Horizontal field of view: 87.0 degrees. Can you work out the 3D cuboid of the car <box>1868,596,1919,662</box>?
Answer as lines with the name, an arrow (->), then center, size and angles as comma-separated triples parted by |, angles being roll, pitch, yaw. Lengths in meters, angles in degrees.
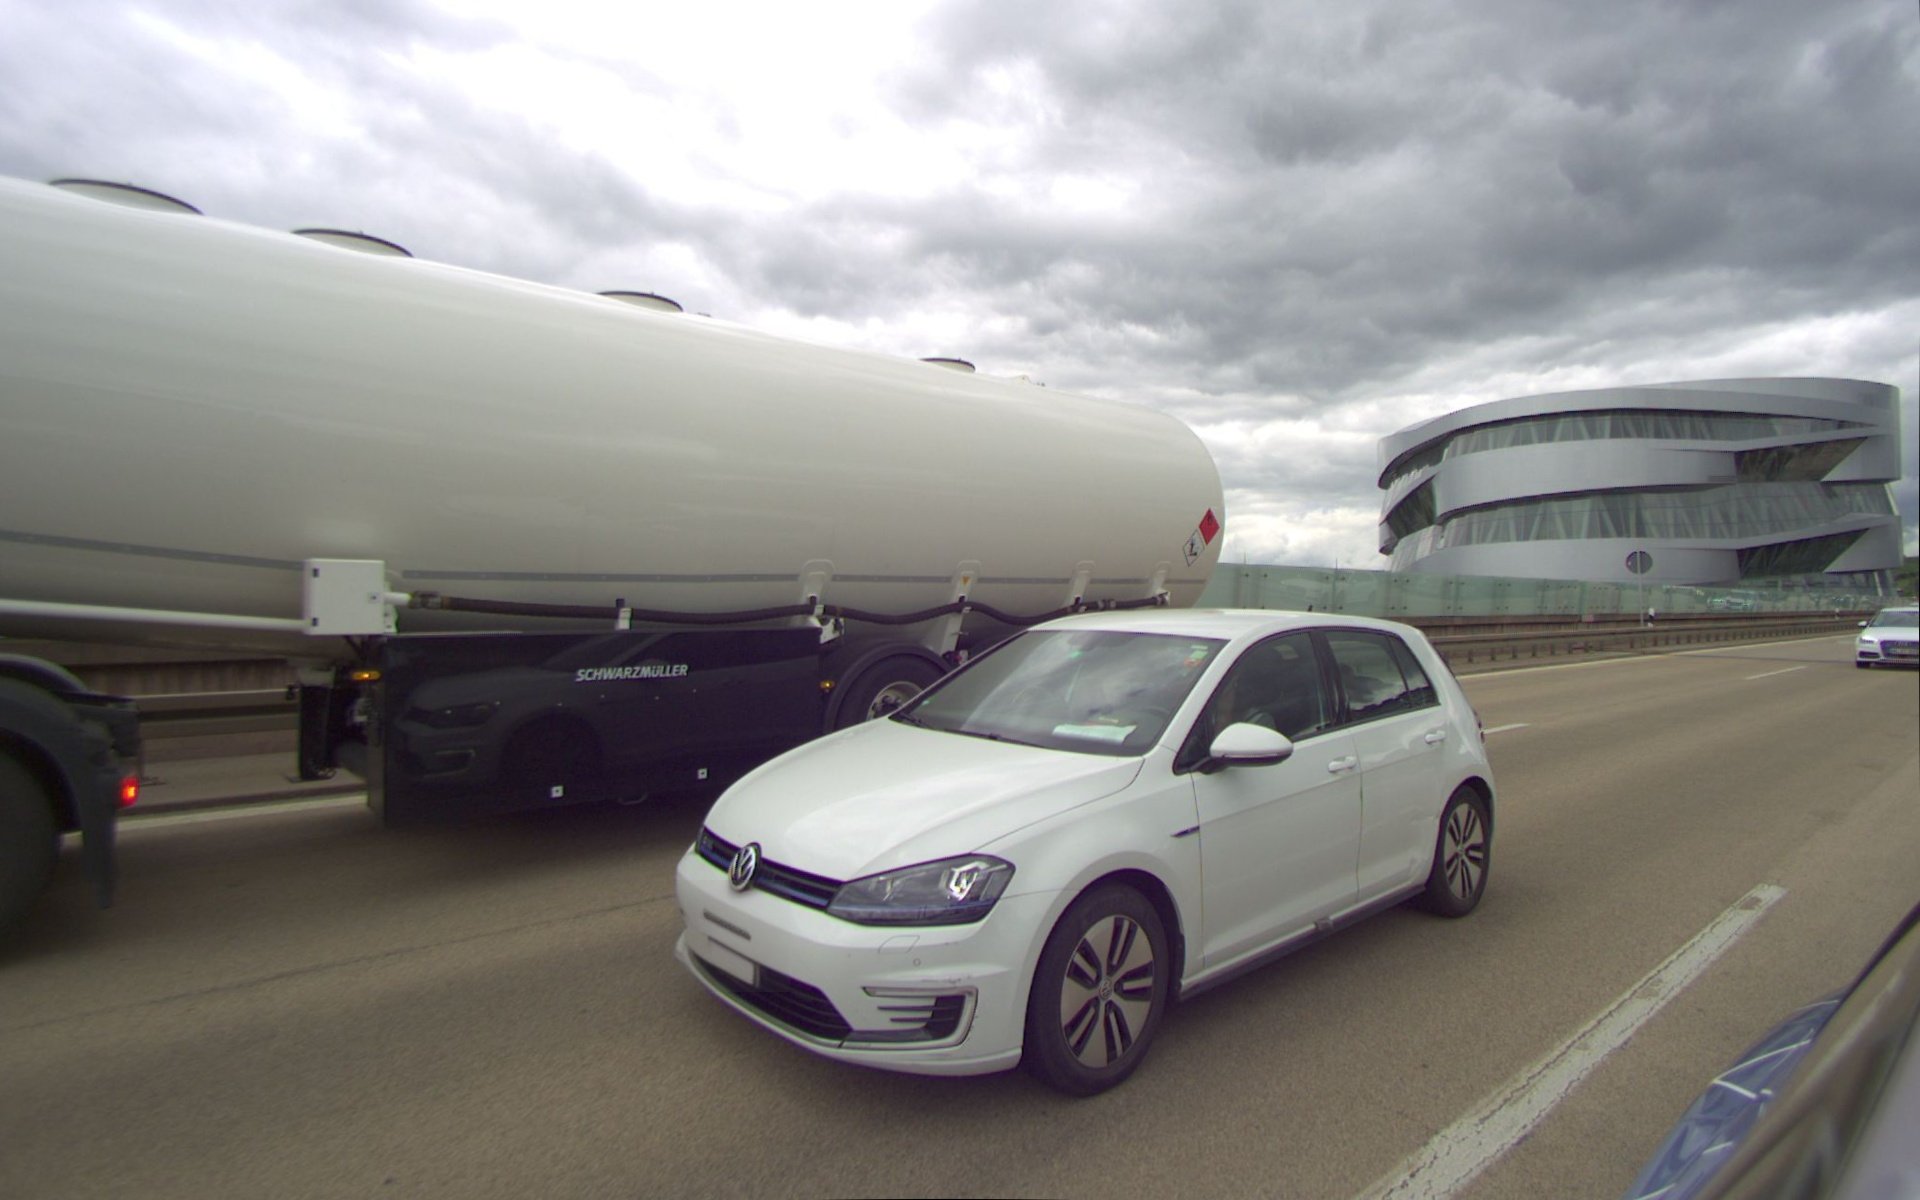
car -> 22.683, 0.651, 23.665 | 3.866, 1.470, 1.845 | 0, 0, -43

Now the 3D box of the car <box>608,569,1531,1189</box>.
car -> 0.777, 0.652, 4.397 | 4.001, 1.470, 1.757 | 0, 1, -41

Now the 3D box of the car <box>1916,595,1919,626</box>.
car -> 52.694, 0.558, 54.207 | 3.563, 1.654, 1.784 | 0, 0, -40

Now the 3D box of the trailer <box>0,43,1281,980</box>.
trailer -> -1.951, -0.365, 7.113 | 11.023, 3.588, 2.655 | 0, 0, -41
